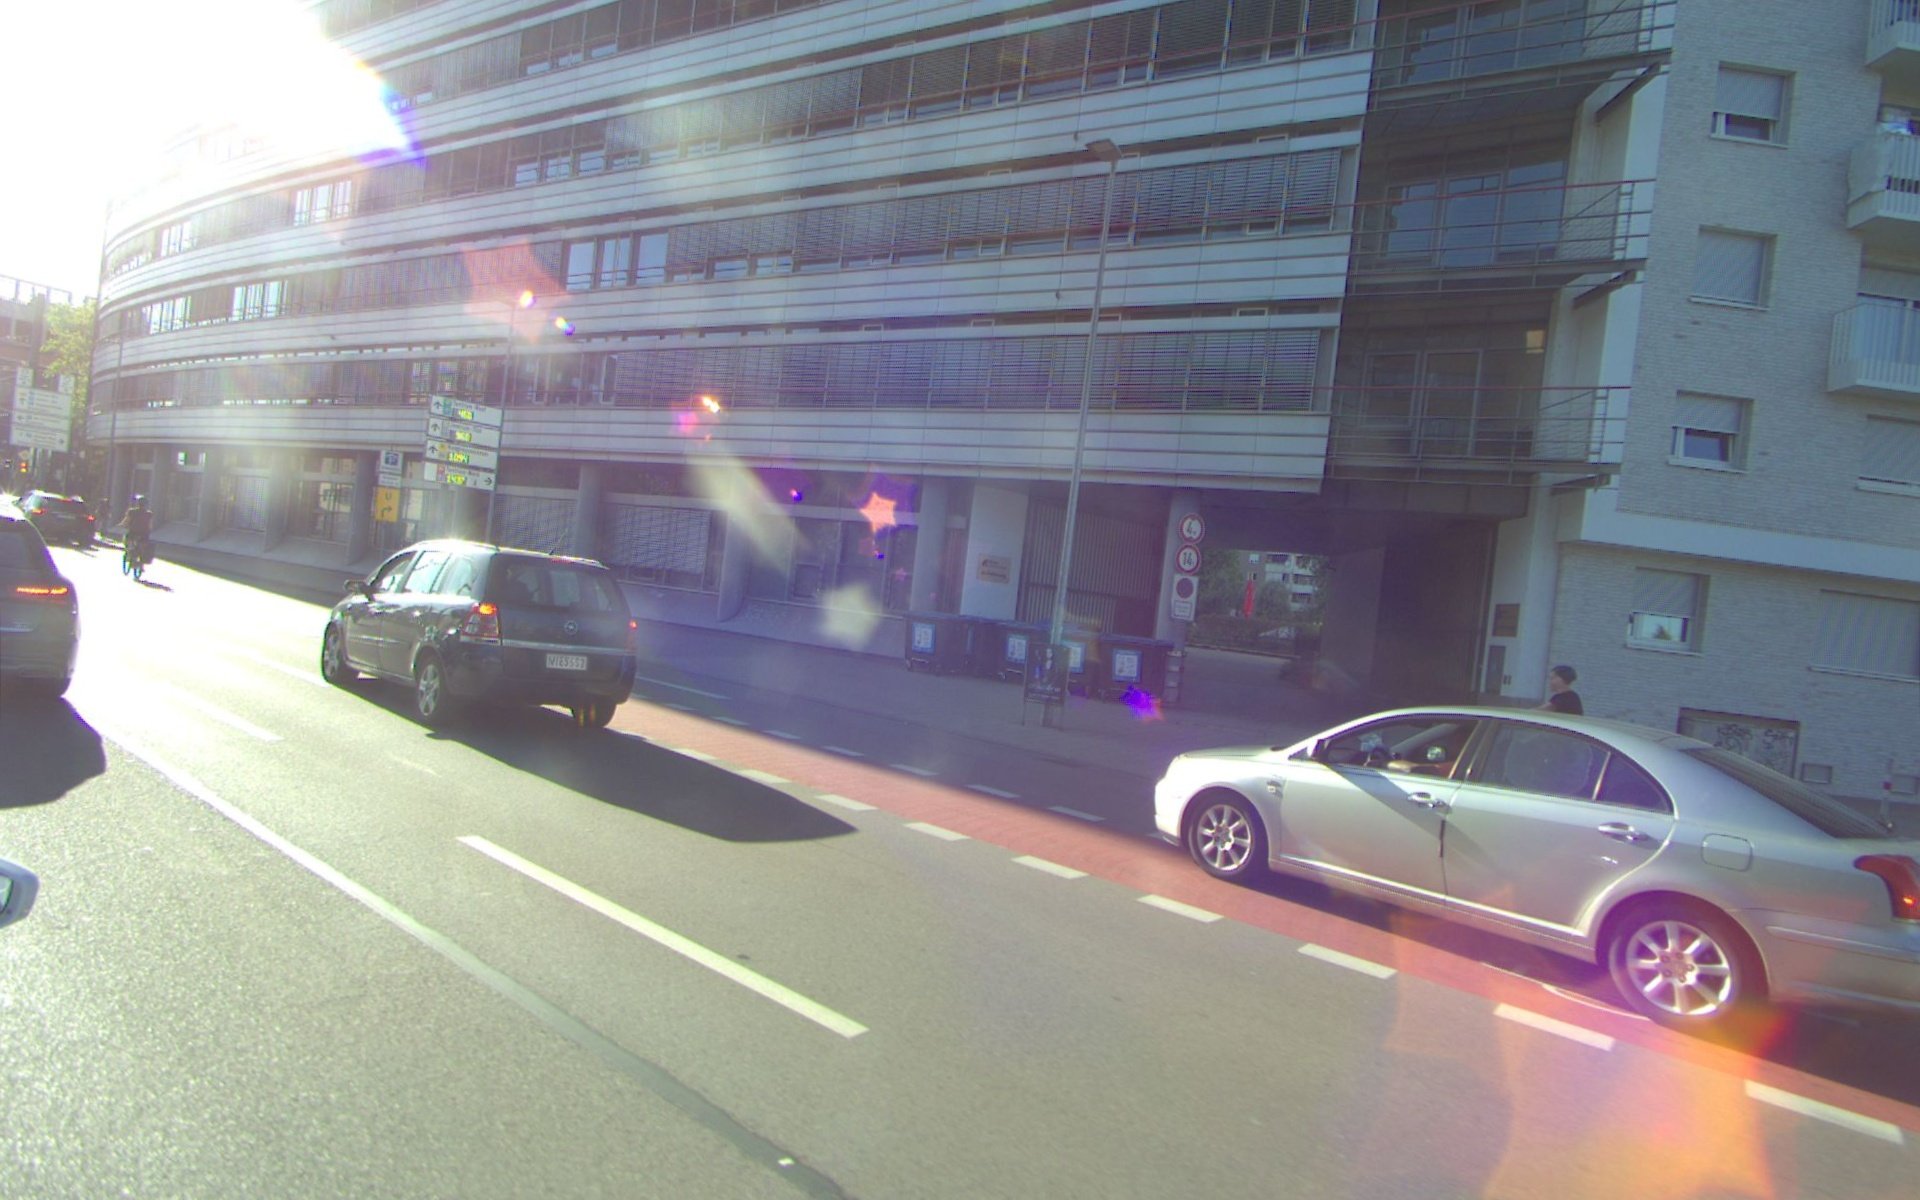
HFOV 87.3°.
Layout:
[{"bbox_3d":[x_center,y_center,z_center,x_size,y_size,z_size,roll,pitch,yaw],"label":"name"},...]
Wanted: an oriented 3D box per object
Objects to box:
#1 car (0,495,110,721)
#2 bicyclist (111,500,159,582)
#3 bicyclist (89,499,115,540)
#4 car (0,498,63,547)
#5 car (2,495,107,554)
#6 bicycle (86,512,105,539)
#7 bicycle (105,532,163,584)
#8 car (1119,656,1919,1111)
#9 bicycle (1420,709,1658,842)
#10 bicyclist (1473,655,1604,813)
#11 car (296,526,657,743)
[{"bbox_3d":[-8.413,-0.178,7.806,4.429,1.509,1.811,7,-2,38],"label":"car"},{"bbox_3d":[-19.383,-1.385,23.636,0.850,1.813,0.577,7,1,37],"label":"bicyclist"},{"bbox_3d":[-36.899,-3.475,43.263,0.682,1.638,0.979,6,1,-44],"label":"bicyclist"},{"bbox_3d":[-38.343,-3.218,41.033,3.943,1.671,1.991,6,0,40],"label":"car"},{"bbox_3d":[-33.998,-2.841,37.738,4.261,1.771,1.994,7,0,36],"label":"car"},{"bbox_3d":[-36.974,-3.202,43.010,0.502,1.072,1.681,3,2,-43],"label":"bicycle"},{"bbox_3d":[-19.454,-1.002,23.682,2.293,1.010,0.491,7,1,37],"label":"bicycle"},{"bbox_3d":[3.376,1.383,6.484,1.744,1.449,4.436,7,0,-42],"label":"car"},{"bbox_3d":[6.440,1.914,11.304,2.176,1.045,0.497,6,0,43],"label":"bicycle"},{"bbox_3d":[6.523,1.480,11.351,1.029,1.586,0.623,7,1,42],"label":"bicyclist"},{"bbox_3d":[-5.122,0.252,10.344,4.401,1.649,1.685,6,0,42],"label":"car"}]
